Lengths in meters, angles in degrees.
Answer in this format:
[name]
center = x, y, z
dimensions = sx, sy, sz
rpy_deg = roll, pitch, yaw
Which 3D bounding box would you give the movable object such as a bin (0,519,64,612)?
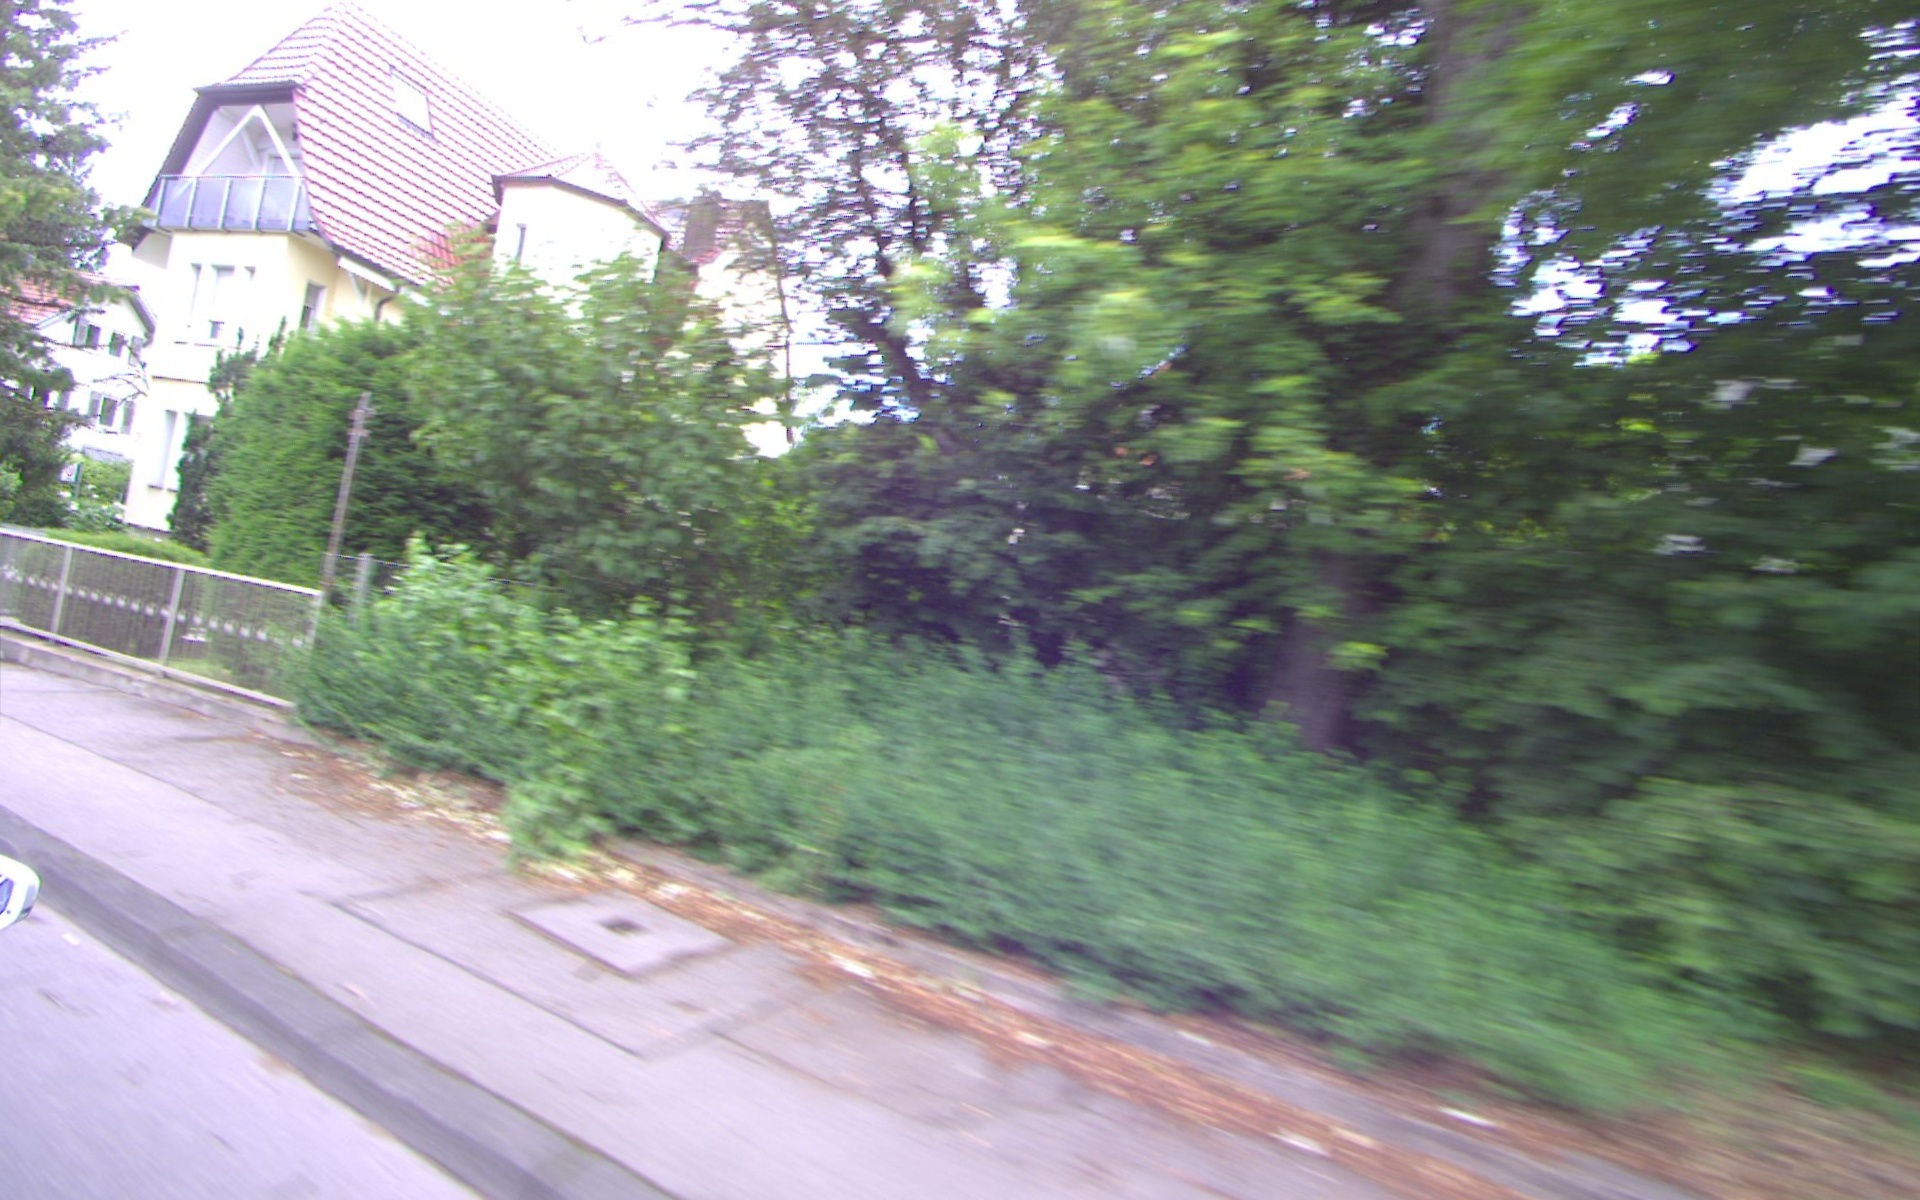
[movable object such as a bin]
center = -12.013, -0.460, 12.712
dimensions = 0.770, 1.061, 0.778
rpy_deg = 8, -1, 34
